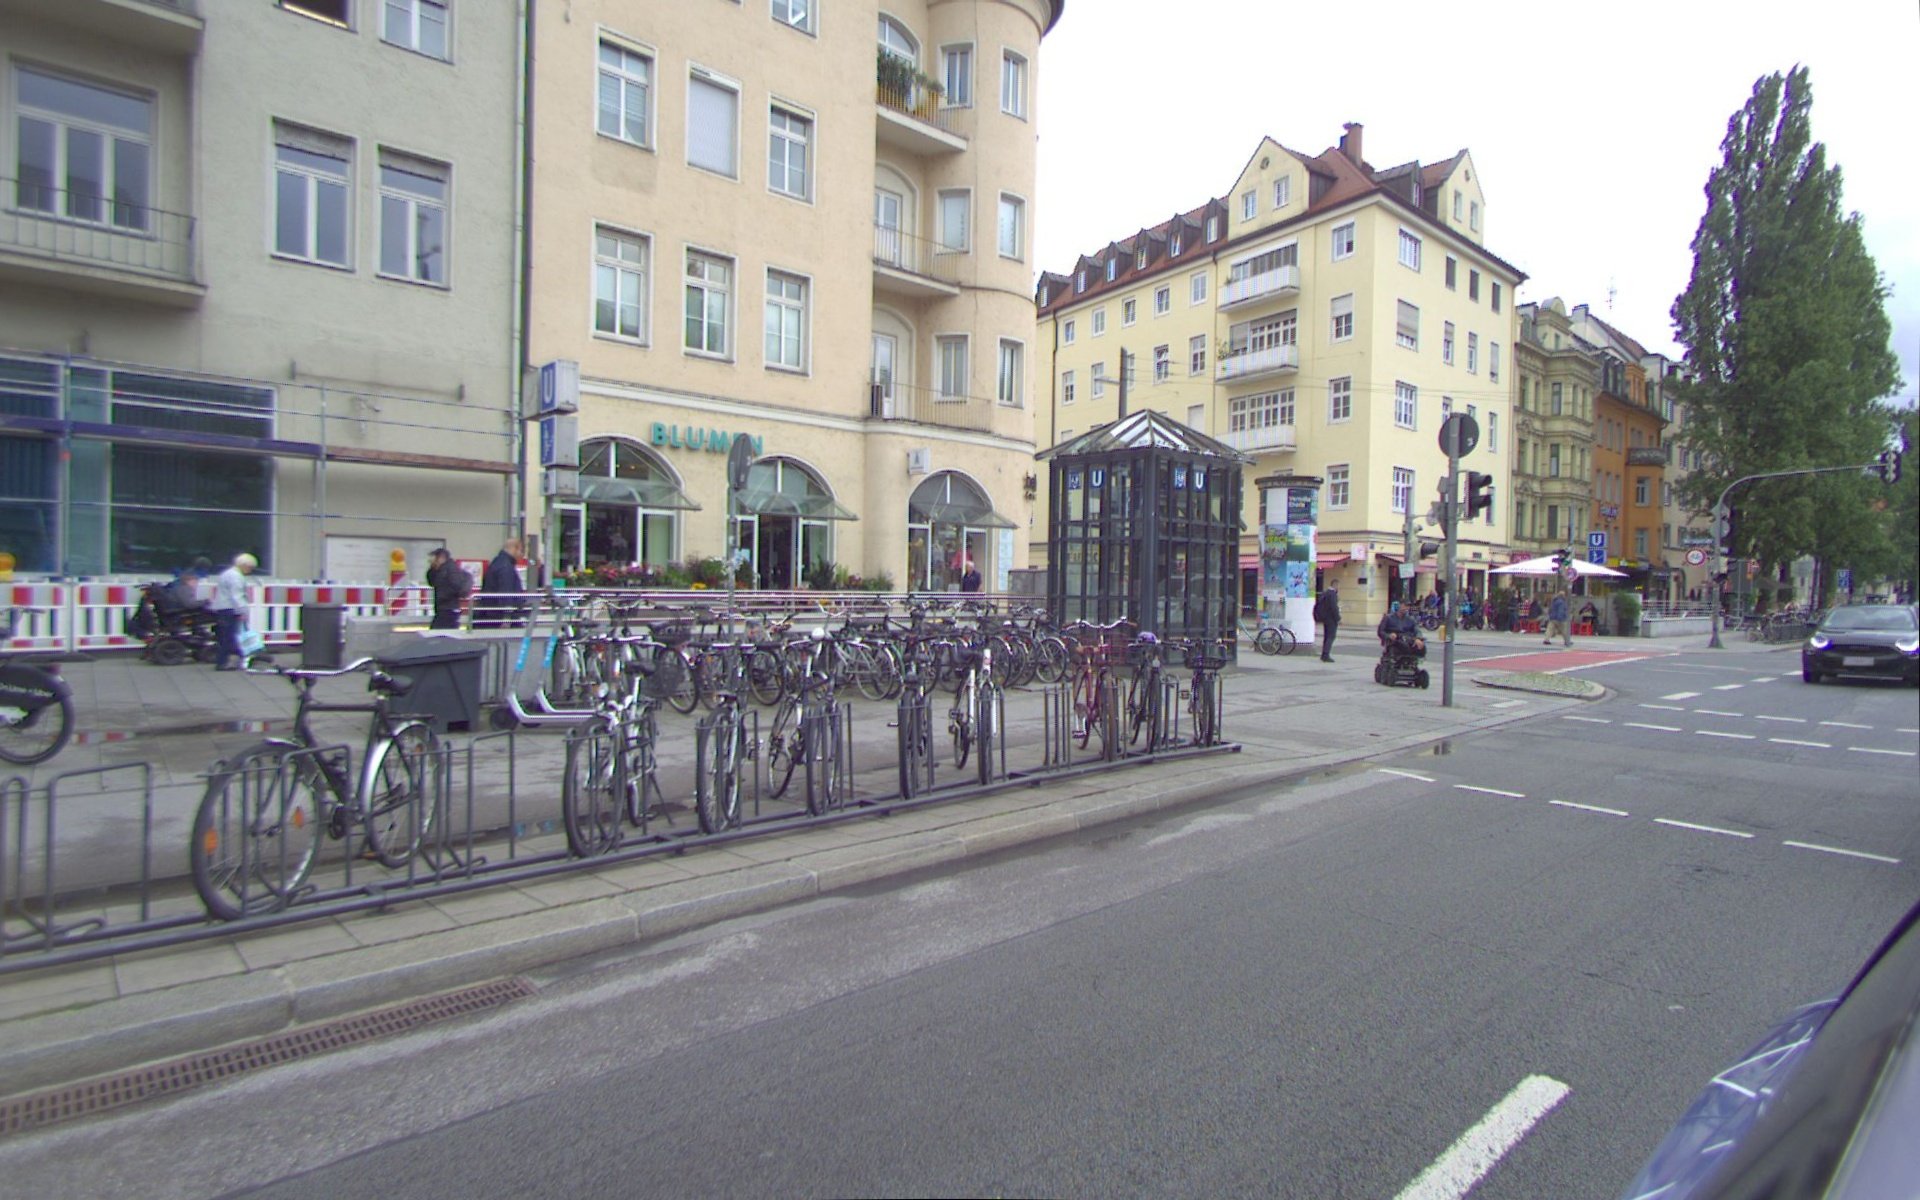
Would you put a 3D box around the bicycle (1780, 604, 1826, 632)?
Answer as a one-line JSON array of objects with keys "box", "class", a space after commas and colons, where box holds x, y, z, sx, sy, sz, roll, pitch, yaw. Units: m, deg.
[{"box": [33.873, 0.720, 40.691, 0.341, 1.008, 1.842, 1, 2, 1], "class": "bicycle"}]

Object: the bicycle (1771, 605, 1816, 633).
[{"box": [32.869, 0.721, 39.922, 0.342, 1.008, 1.840, 1, 2, 4], "class": "bicycle"}]

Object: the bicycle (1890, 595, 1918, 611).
[{"box": [66.640, 0.210, 71.448, 0.353, 1.116, 1.743, 1, 1, 4], "class": "bicycle"}]

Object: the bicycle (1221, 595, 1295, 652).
[{"box": [6.795, 0.525, 23.150, 0.515, 1.174, 1.573, 3, 1, -38], "class": "bicycle"}]

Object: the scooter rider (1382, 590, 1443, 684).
[{"box": [7.069, 0.567, 15.840, 0.692, 1.406, 0.641, 2, 1, 13], "class": "scooter rider"}]

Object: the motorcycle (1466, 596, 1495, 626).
[{"box": [21.098, 0.442, 41.021, 1.544, 1.171, 0.487, 0, 1, -41], "class": "motorcycle"}]

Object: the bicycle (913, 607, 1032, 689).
[{"box": [0.138, 0.626, 13.842, 0.500, 0.976, 1.840, 1, 1, -42], "class": "bicycle"}]

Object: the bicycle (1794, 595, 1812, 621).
[{"box": [43.942, 0.415, 52.748, 1.747, 1.304, 0.424, 0, 1, -41], "class": "bicycle"}]

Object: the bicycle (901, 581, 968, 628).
[{"box": [-0.615, 0.113, 24.748, 0.494, 1.103, 1.837, 2, 1, 42], "class": "bicycle"}]

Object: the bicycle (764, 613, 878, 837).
[{"box": [-0.940, 0.709, 6.523, 0.477, 1.172, 1.809, 1, 1, -15], "class": "bicycle"}]

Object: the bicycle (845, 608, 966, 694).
[{"box": [-0.734, 0.626, 13.119, 0.500, 0.976, 1.840, 1, 1, -42], "class": "bicycle"}]

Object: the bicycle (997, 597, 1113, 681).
[{"box": [1.375, 0.545, 14.951, 0.500, 1.108, 1.840, 1, 1, -42], "class": "bicycle"}]

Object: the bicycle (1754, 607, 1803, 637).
[{"box": [30.228, 0.804, 37.396, 0.341, 1.008, 1.841, 1, 2, 3], "class": "bicycle"}]

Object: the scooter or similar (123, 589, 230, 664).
[{"box": [-10.658, 0.343, 13.780, 1.106, 0.955, 0.535, 0, 2, -43], "class": "scooter or similar"}]

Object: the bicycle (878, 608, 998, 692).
[{"box": [-0.327, 0.626, 13.447, 0.500, 0.976, 1.840, 1, 1, -42], "class": "bicycle"}]

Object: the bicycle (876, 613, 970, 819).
[{"box": [-0.280, 0.707, 6.975, 0.537, 1.172, 1.806, 1, 1, -4], "class": "bicycle"}]

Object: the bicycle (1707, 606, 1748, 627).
[{"box": [40.443, 0.883, 53.338, 1.722, 1.059, 0.381, 1, -1, 43], "class": "bicycle"}]

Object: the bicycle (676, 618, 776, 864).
[{"box": [-1.379, 0.731, 6.038, 0.477, 1.172, 1.809, 1, 1, -12], "class": "bicycle"}]

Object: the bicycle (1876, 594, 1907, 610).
[{"box": [65.785, 0.145, 71.473, 0.352, 1.116, 1.748, 1, 1, -7], "class": "bicycle"}]

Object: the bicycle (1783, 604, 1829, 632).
[{"box": [34.358, 0.720, 41.129, 0.341, 1.008, 1.842, 1, 2, 1], "class": "bicycle"}]

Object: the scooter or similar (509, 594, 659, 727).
[{"box": [-3.469, 0.560, 9.384, 1.250, 1.190, 0.302, 1, 1, -11], "class": "scooter or similar"}]

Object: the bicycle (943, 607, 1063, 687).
[{"box": [0.572, 0.625, 14.139, 0.500, 0.976, 1.840, 1, 1, -42], "class": "bicycle"}]

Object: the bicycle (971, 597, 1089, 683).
[{"box": [0.975, 0.545, 14.562, 0.500, 1.108, 1.840, 1, 1, -42], "class": "bicycle"}]

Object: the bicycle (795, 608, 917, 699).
[{"box": [-1.320, 0.626, 12.556, 0.500, 0.976, 1.840, 1, 1, -42], "class": "bicycle"}]

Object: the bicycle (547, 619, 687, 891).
[{"box": [-1.821, 0.729, 5.564, 0.477, 1.172, 1.808, 1, 1, -11], "class": "bicycle"}]

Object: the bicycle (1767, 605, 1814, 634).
[{"box": [31.846, 0.720, 38.840, 0.341, 1.008, 1.841, 1, 2, 3], "class": "bicycle"}]

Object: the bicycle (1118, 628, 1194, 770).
[{"box": [1.677, 0.805, 8.822, 0.491, 1.041, 1.599, 1, 1, 6], "class": "bicycle"}]

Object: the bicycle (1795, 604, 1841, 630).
[{"box": [36.844, 0.721, 43.480, 0.341, 1.008, 1.843, 1, 2, -2], "class": "bicycle"}]

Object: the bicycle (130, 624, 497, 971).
[{"box": [-2.758, 0.740, 4.578, 0.639, 1.172, 1.807, 1, 1, -6], "class": "bicycle"}]

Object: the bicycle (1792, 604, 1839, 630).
[{"box": [36.367, 0.721, 43.047, 0.341, 1.008, 1.843, 1, 2, -2], "class": "bicycle"}]

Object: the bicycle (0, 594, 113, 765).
[{"box": [-6.961, 0.540, 7.034, 1.688, 1.156, 0.370, 1, 1, -9], "class": "bicycle"}]

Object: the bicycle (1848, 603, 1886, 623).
[{"box": [48.891, 0.689, 54.548, 0.368, 1.008, 1.842, 1, 0, 0], "class": "bicycle"}]

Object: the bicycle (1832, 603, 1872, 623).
[{"box": [46.942, 0.661, 53.254, 0.368, 1.008, 1.843, 1, 0, -4], "class": "bicycle"}]

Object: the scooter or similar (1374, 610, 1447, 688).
[{"box": [7.037, 0.740, 15.861, 0.766, 1.088, 1.252, 2, 1, 13], "class": "scooter or similar"}]

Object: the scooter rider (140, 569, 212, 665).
[{"box": [-10.658, 0.216, 13.763, 0.707, 1.234, 0.686, 1, 2, -43], "class": "scooter rider"}]

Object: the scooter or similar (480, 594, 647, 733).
[{"box": [-3.511, 0.561, 9.026, 1.319, 1.190, 0.365, 1, 1, -11], "class": "scooter or similar"}]

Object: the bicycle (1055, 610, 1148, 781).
[{"box": [1.143, 0.721, 8.450, 0.549, 1.213, 1.804, 1, 1, 2], "class": "bicycle"}]

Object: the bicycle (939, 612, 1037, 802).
[{"box": [0.161, 0.708, 7.491, 0.537, 1.172, 1.806, 1, 1, -4], "class": "bicycle"}]

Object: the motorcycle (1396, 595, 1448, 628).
[{"box": [17.799, 0.449, 39.003, 1.744, 1.215, 0.539, 1, 1, 19], "class": "motorcycle"}]

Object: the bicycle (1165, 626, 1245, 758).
[{"box": [2.253, 0.807, 9.441, 0.491, 1.041, 1.599, 1, 1, 6], "class": "bicycle"}]
